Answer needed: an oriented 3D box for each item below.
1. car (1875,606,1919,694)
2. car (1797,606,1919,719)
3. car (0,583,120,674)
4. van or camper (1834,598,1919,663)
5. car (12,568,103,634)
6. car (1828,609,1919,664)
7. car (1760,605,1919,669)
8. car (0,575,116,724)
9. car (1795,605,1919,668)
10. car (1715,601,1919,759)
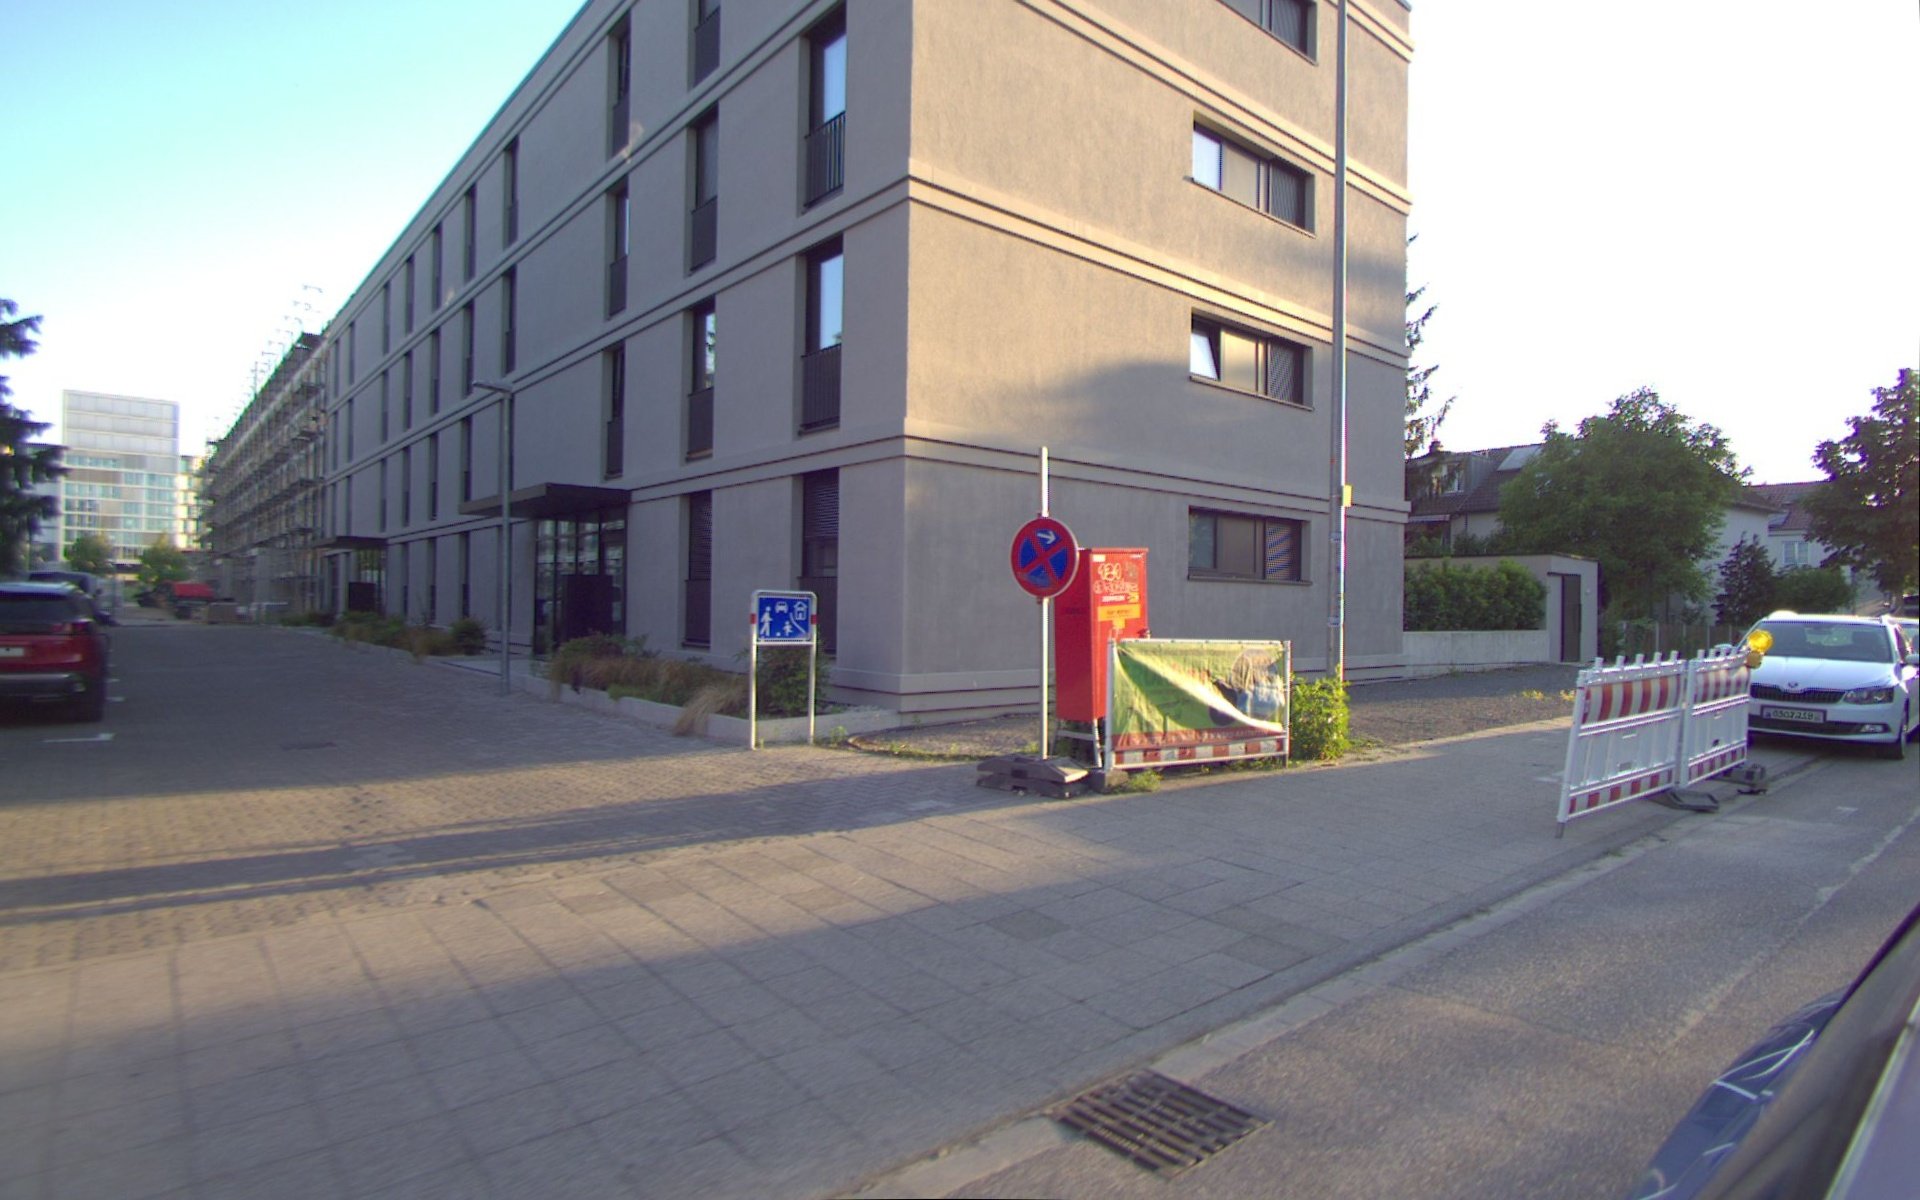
[{"bbox_3d":[17.944,0.881,18.156,3.690,1.488,1.744,1,0,-39],"label":"car"},{"bbox_3d":[13.934,0.871,15.028,3.777,1.488,1.800,1,0,-42],"label":"car"},{"bbox_3d":[-16.082,0.440,17.955,1.728,1.427,3.910,1,0,-39],"label":"car"},{"bbox_3d":[30.452,0.952,31.538,2.058,1.978,4.654,1,0,-42],"label":"van or camper"},{"bbox_3d":[-27.532,0.008,30.981,1.852,1.874,3.910,1,0,-39],"label":"car"},{"bbox_3d":[28.599,1.103,30.250,1.600,1.563,3.839,1,0,-40],"label":"car"},{"bbox_3d":[23.166,0.931,25.186,1.738,1.415,4.831,2,0,-38],"label":"car"},{"bbox_3d":[-11.468,0.495,12.232,1.852,1.587,3.910,1,0,-39],"label":"car"},{"bbox_3d":[25.083,0.992,26.958,1.736,1.520,4.068,2,0,-36],"label":"car"},{"bbox_3d":[10.093,0.796,11.566,3.928,1.488,1.617,1,0,-42],"label":"car"}]
